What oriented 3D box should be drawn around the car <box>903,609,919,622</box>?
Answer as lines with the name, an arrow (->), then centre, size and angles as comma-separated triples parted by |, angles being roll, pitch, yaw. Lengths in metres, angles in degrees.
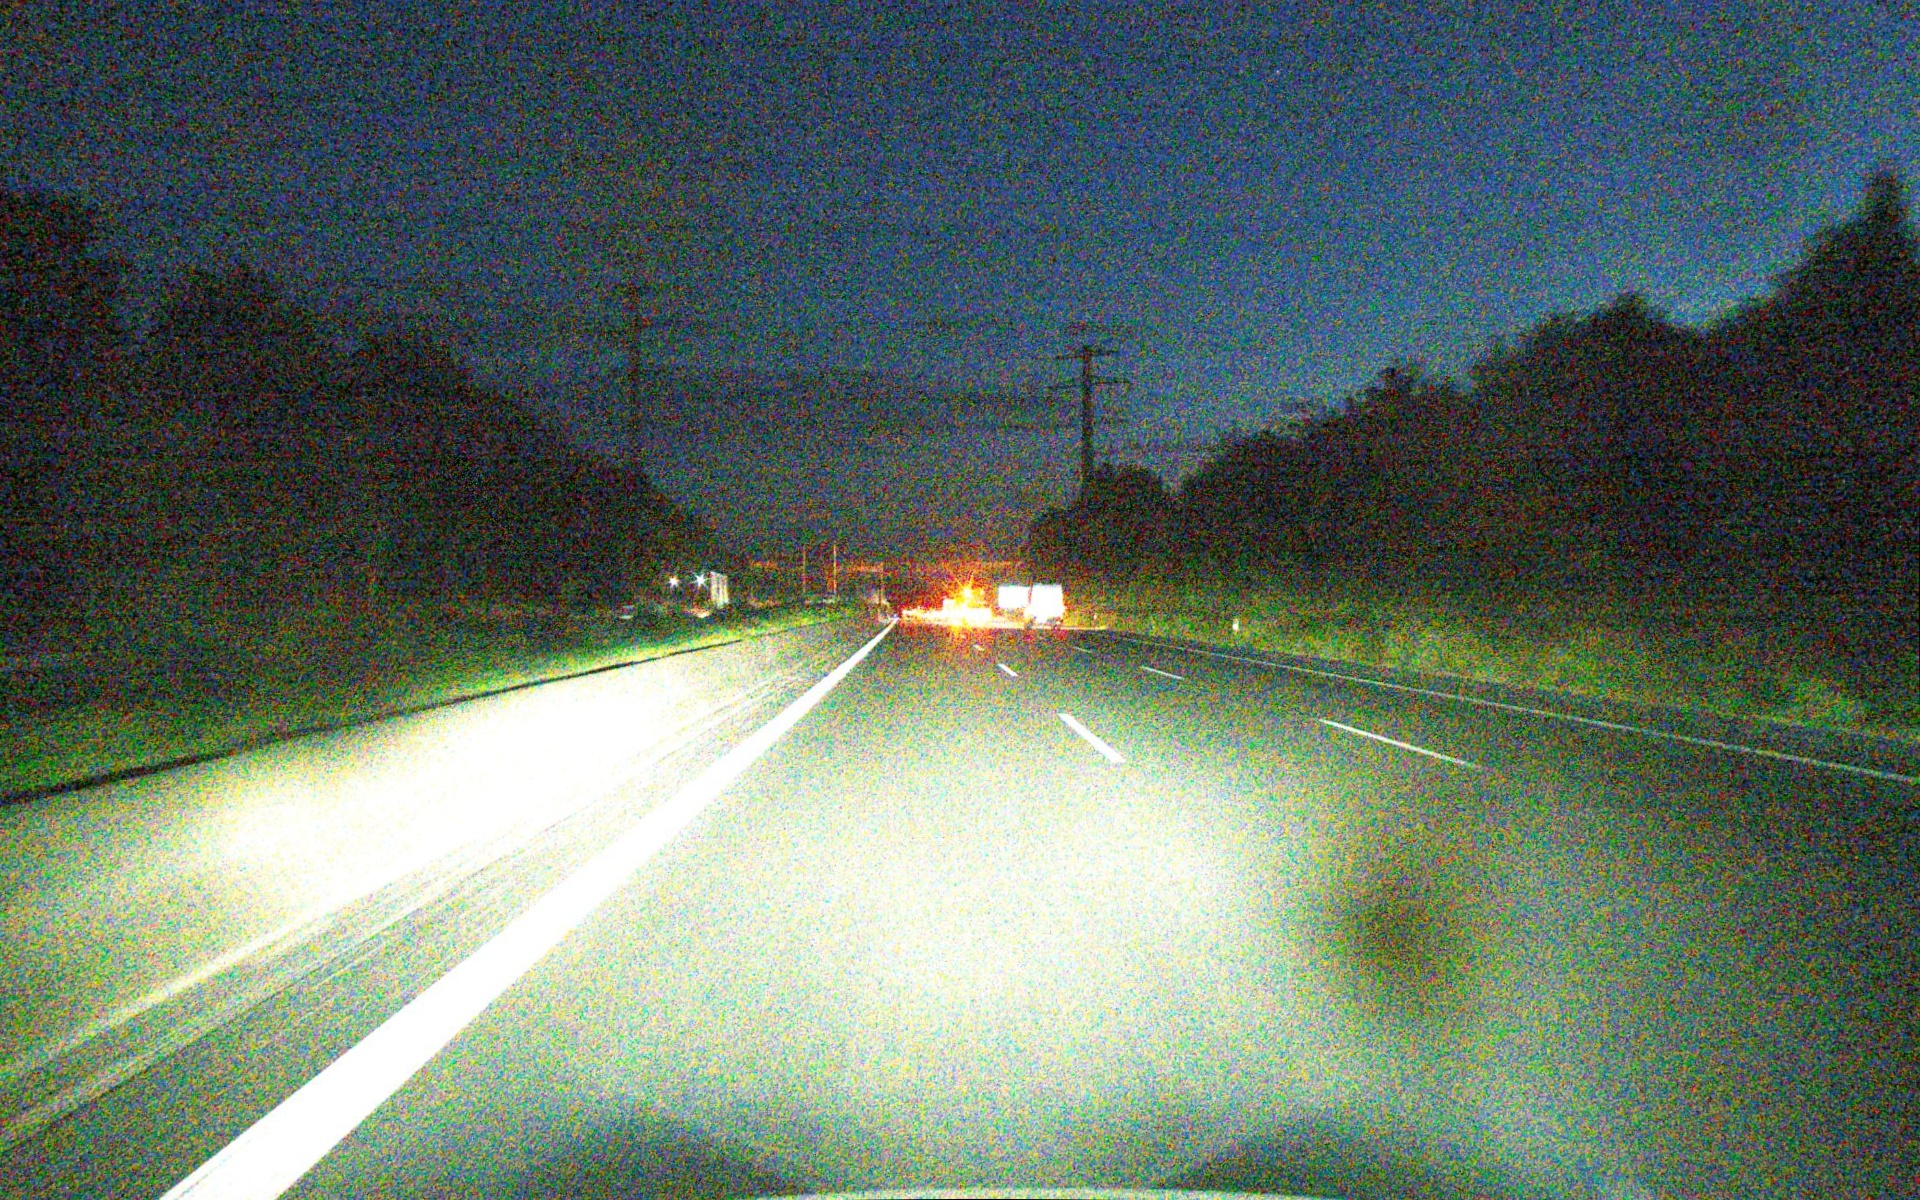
car -> -5.880, 1.849, 199.766 | 1.784, 1.492, 4.247 | 1, 0, -1

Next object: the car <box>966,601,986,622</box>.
car -> 1.098, 0.832, 117.378 | 1.319, 1.411, 3.501 | 1, 0, -1

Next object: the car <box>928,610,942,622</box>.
car -> -3.323, 2.096, 221.649 | 1.784, 1.492, 4.247 | 1, 0, -1

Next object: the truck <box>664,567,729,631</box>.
truck -> -19.084, -0.150, 120.881 | 3.052, 4.276, 16.966 | -2, 1, -4

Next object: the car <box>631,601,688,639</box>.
car -> -13.083, 0.848, 72.310 | 1.715, 1.504, 4.751 | -2, 1, -2

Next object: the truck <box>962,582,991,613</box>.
truck -> 1.813, -0.365, 188.687 | 2.982, 3.383, 10.139 | 1, 1, -1

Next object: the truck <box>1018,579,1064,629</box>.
truck -> 4.860, 0.298, 100.111 | 2.035, 2.738, 7.302 | 1, -2, -3
